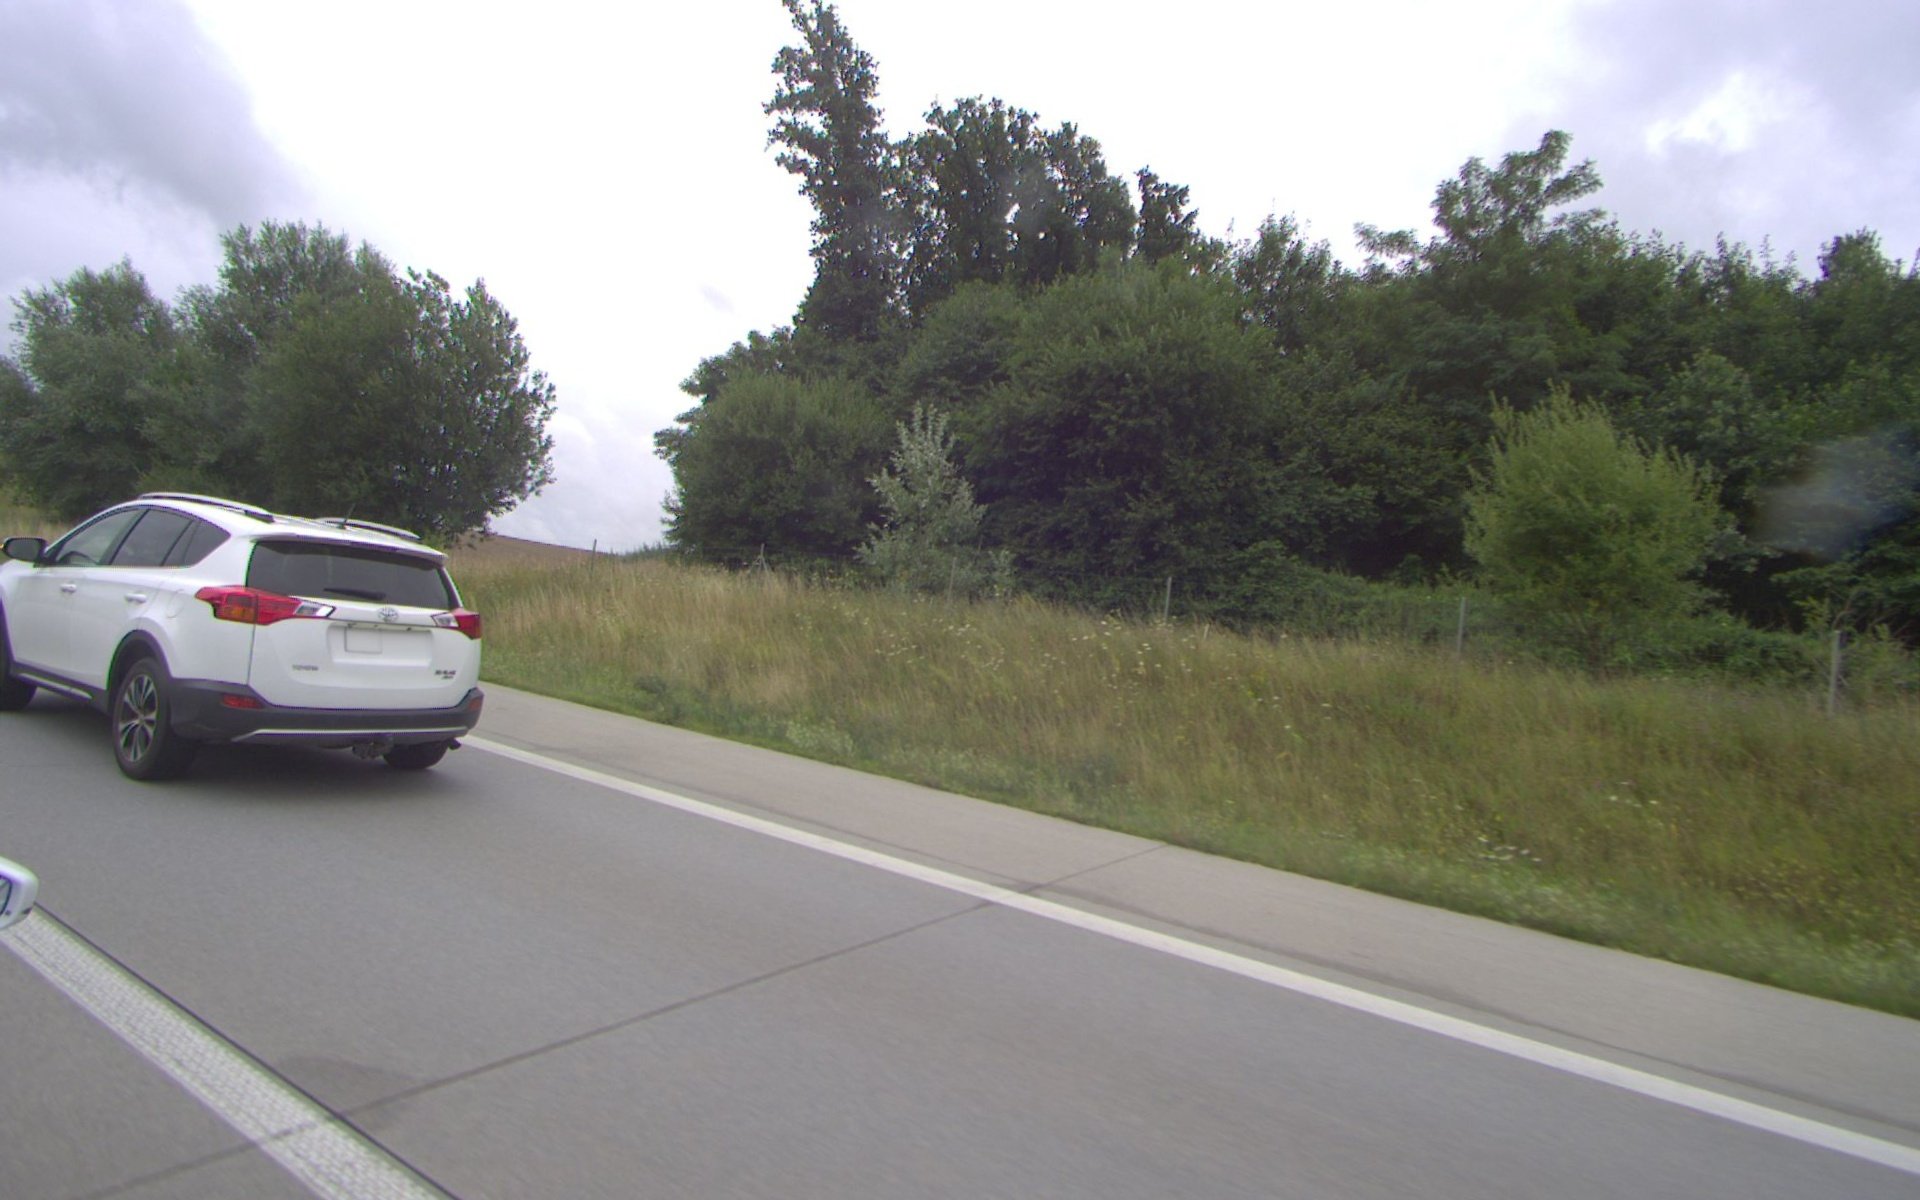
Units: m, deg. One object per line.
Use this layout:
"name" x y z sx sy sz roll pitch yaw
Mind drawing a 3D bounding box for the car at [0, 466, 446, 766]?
"car" -5.995 0.031 7.645 3.919 1.674 1.829 7 -2 32
